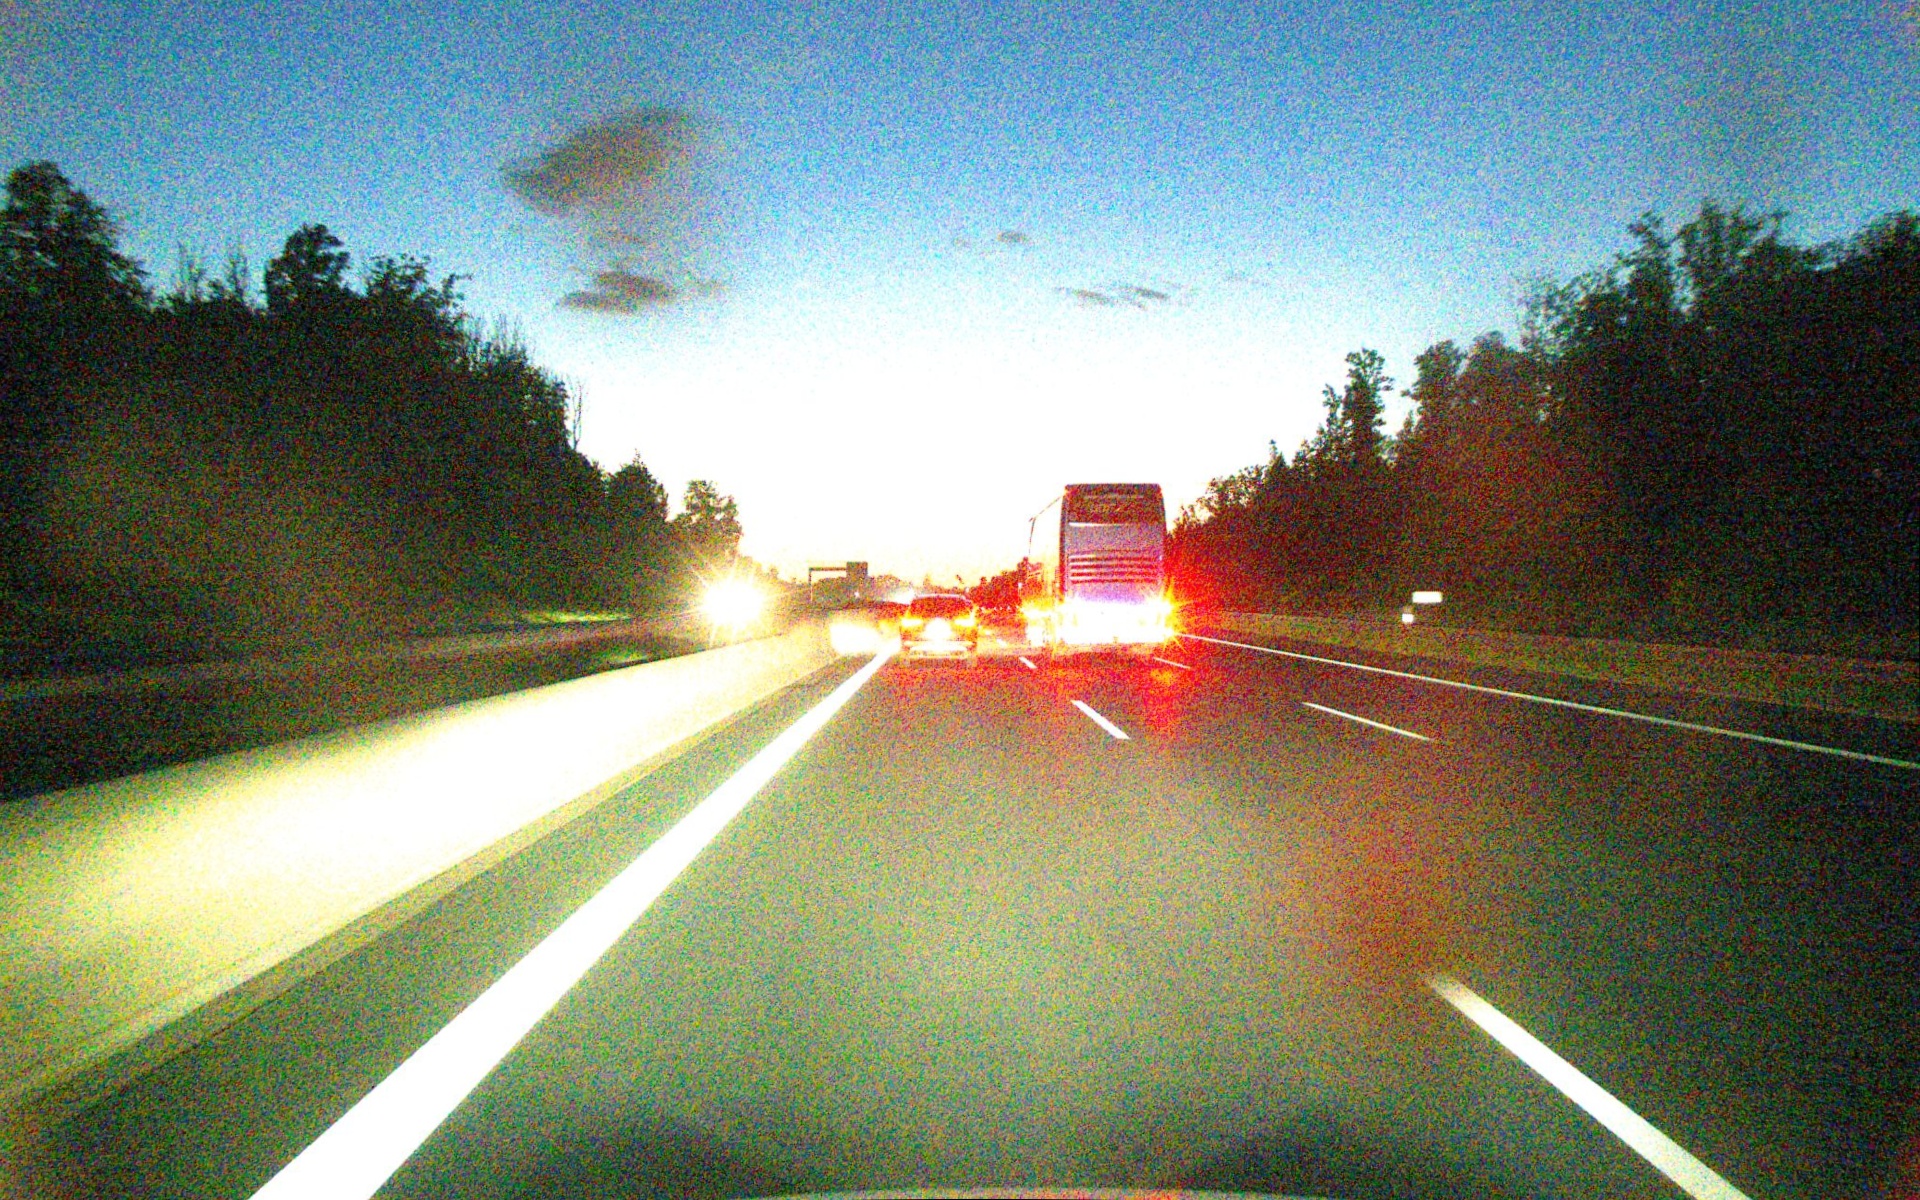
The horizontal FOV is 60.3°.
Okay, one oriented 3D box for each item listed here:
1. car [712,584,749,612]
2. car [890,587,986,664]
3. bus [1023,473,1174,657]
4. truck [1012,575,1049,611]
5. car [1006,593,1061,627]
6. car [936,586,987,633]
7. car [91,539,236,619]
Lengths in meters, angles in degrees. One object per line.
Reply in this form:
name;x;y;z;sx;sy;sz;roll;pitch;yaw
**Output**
car;-15.924;-0.157;115.048;1.952;1.807;5.168;2;1;-2
car;-0.557;0.577;37.611;2.063;1.646;4.202;0;-1;-2
bus;3.370;-0.701;44.244;2.598;4.064;14.698;-1;-1;-1
truck;6.047;-0.548;142.690;2.550;2.925;7.483;2;0;-1
car;2.895;0.411;66.184;1.873;1.297;3.998;-1;-1;-2
car;0.039;0.401;66.017;1.873;1.760;3.998;-1;-1;-2
car;-20.922;-0.532;43.609;1.953;1.959;3.998;-2;0;-2
